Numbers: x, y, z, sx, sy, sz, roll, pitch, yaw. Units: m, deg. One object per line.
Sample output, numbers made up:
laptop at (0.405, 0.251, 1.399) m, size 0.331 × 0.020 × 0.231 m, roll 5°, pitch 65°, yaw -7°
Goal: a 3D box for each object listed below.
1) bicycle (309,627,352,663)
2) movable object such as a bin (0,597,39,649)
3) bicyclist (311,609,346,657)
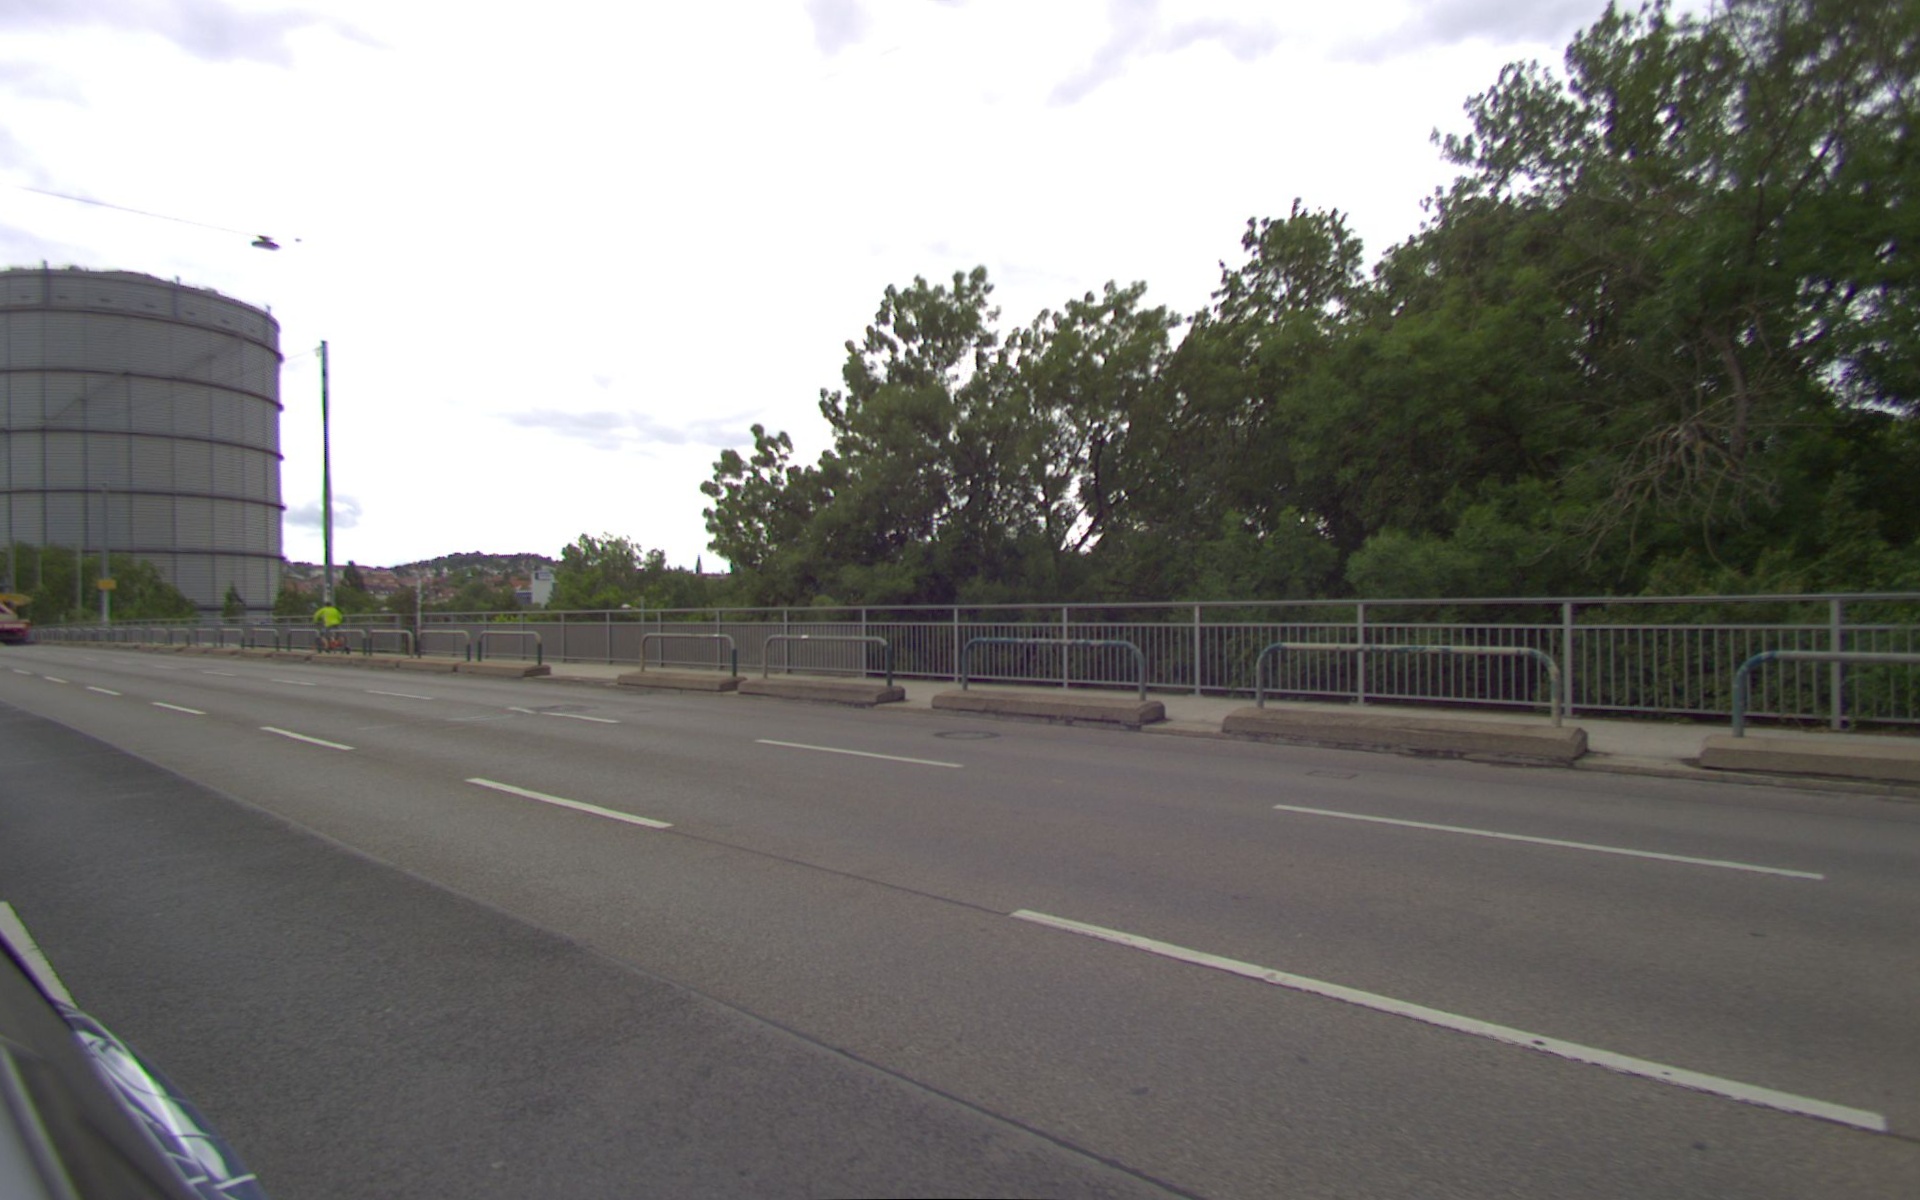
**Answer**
bicycle at (-20.928, 1.481, 33.618) m, size 1.983 × 1.071 × 0.628 m, roll -1°, pitch 7°, yaw 44°
movable object such as a bin at (-65.167, 1.549, 68.323) m, size 9.355 × 3.348 × 3.419 m, roll -1°, pitch -2°, yaw 42°
bicyclist at (-20.947, 1.078, 33.570) m, size 0.670 × 1.486 × 0.620 m, roll -1°, pitch 7°, yaw 43°
